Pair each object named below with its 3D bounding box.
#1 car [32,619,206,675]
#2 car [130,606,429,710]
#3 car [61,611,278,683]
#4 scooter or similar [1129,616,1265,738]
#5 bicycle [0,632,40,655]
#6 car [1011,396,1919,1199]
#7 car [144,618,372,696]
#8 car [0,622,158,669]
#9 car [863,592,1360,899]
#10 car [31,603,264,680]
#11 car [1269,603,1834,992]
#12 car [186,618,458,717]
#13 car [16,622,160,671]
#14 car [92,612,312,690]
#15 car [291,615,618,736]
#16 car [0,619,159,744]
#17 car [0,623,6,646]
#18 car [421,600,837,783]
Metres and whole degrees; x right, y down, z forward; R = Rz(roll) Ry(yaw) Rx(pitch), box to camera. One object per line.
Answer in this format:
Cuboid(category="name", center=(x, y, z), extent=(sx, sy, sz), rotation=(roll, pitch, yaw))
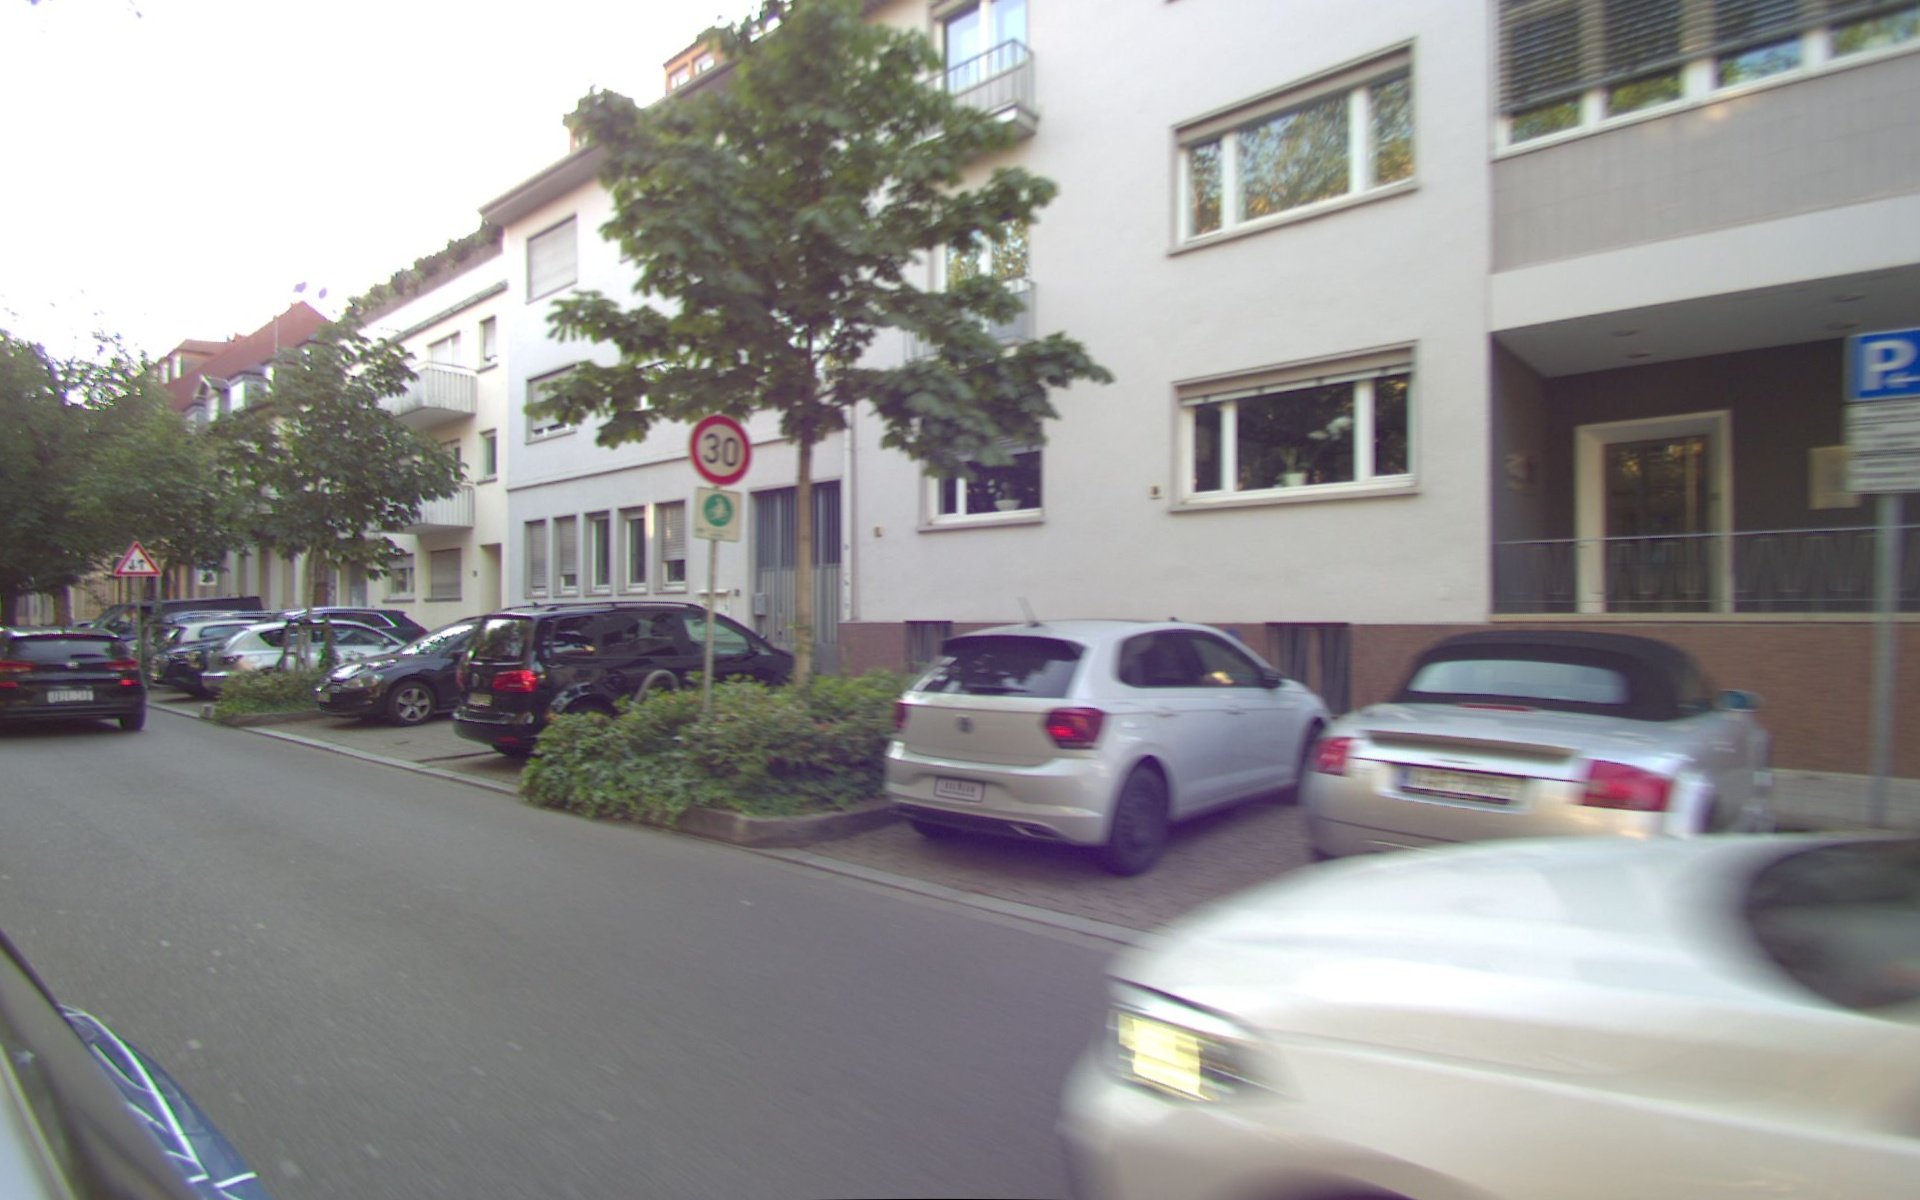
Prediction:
Cuboid(category="car", center=(-28.527, 1.543, 34.455), extent=(1.771, 1.550, 4.310), rotation=(0, 2, 41))
Cuboid(category="car", center=(-13.647, 1.061, 20.521), extent=(2.155, 1.778, 4.618), rotation=(-1, 0, 40))
Cuboid(category="car", center=(-21.256, 1.210, 27.358), extent=(1.929, 1.584, 4.310), rotation=(-1, 1, 41))
Cuboid(category="scooter or similar", center=(2.636, 0.826, 11.356), extent=(0.509, 1.271, 1.421), rotation=(-1, 0, -45))
Cuboid(category="bicycle", center=(-48.743, 2.226, 52.214), extent=(0.508, 1.107, 1.847), rotation=(-1, 0, 35))
Cuboid(category="car", center=(2.263, 0.590, 0.895), extent=(4.275, 1.561, 1.856), rotation=(-2, -2, 44))
Cuboid(category="car", center=(-15.471, 1.210, 22.436), extent=(1.854, 1.462, 3.805), rotation=(-3, -1, 41))
Cuboid(category="car", center=(-32.559, 1.631, 37.319), extent=(1.715, 1.417, 4.383), rotation=(0, 1, 37))
Cuboid(category="car", center=(1.265, 0.734, 7.048), extent=(1.734, 1.469, 3.704), rotation=(-2, 0, 40))
Cuboid(category="car", center=(-23.302, 1.135, 29.207), extent=(2.188, 2.006, 4.939), rotation=(-2, -2, 40))
Cuboid(category="car", center=(3.497, 0.742, 5.669), extent=(1.845, 1.321, 3.697), rotation=(-2, 0, 45))
Cuboid(category="car", center=(-11.833, 1.164, 18.934), extent=(1.781, 1.505, 3.984), rotation=(-2, 0, 44))
Cuboid(category="car", center=(-30.730, 1.593, 35.734), extent=(1.658, 1.460, 3.646), rotation=(-1, 1, 41))
Cuboid(category="car", center=(-18.995, 1.217, 25.494), extent=(1.823, 1.603, 4.112), rotation=(-1, 1, 41))
Cuboid(category="car", center=(-7.467, 1.019, 15.247), extent=(1.754, 1.451, 4.032), rotation=(-2, 0, 42))
Cuboid(category="car", center=(-13.178, 1.084, 14.526), extent=(4.273, 1.561, 1.857), rotation=(-1, -3, 41))
Cuboid(category="car", center=(-61.692, 2.235, 62.735), extent=(1.671, 1.416, 3.455), rotation=(-2, 1, 38))
Cuboid(category="car", center=(-3.563, 0.857, 11.435), extent=(1.935, 1.644, 4.049), rotation=(-2, -1, 42))
